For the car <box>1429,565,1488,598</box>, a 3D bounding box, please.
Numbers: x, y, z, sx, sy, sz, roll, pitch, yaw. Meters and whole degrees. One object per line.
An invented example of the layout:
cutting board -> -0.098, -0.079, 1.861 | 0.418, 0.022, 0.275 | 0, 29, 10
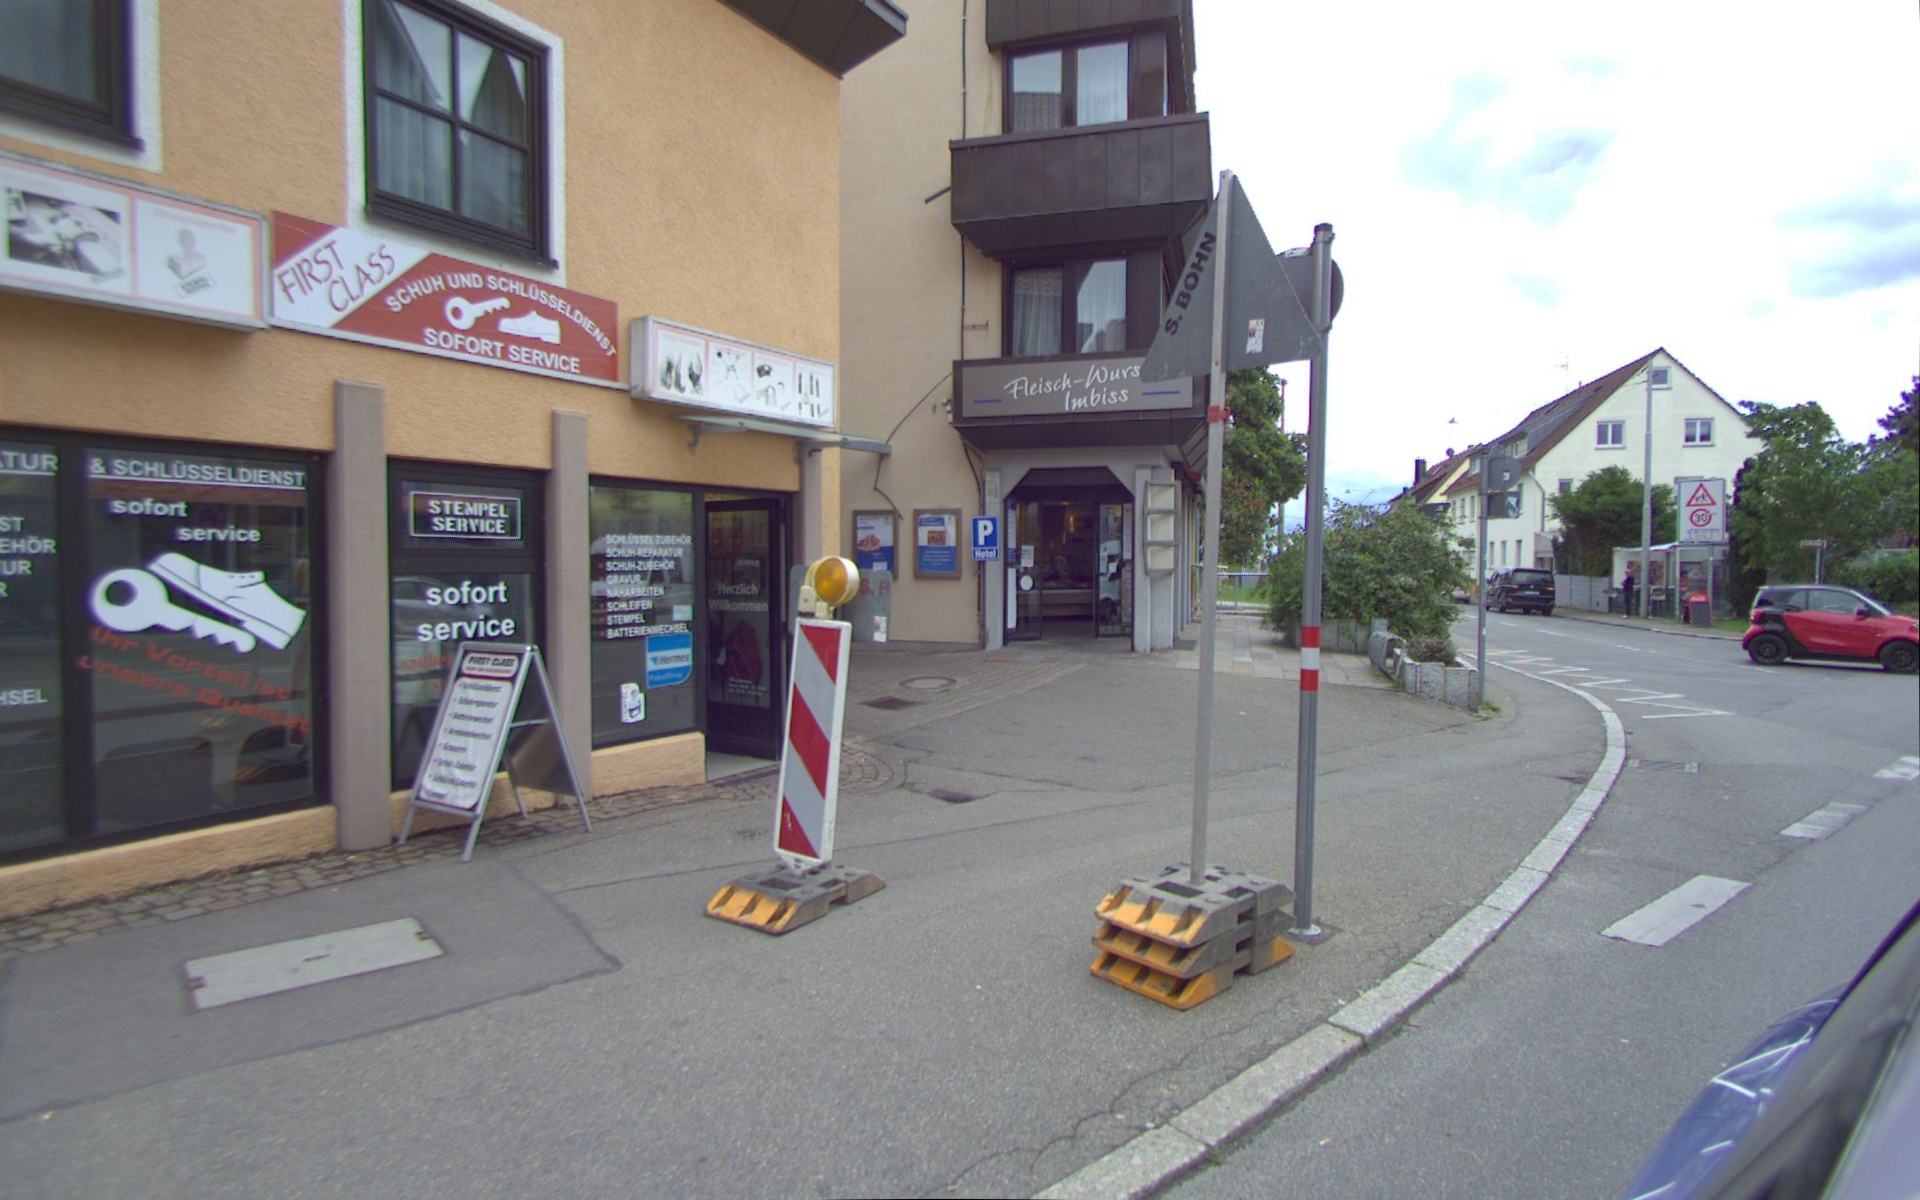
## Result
car -> 27.142, -1.049, 55.277 | 1.971, 1.693, 4.374 | 2, 2, 15

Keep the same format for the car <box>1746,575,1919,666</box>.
car -> 16.650, 0.338, 18.934 | 2.928, 1.539, 1.793 | 3, 2, 42

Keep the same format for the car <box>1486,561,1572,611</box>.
car -> 23.291, -0.626, 41.623 | 1.971, 1.900, 4.374 | 2, 2, 15
